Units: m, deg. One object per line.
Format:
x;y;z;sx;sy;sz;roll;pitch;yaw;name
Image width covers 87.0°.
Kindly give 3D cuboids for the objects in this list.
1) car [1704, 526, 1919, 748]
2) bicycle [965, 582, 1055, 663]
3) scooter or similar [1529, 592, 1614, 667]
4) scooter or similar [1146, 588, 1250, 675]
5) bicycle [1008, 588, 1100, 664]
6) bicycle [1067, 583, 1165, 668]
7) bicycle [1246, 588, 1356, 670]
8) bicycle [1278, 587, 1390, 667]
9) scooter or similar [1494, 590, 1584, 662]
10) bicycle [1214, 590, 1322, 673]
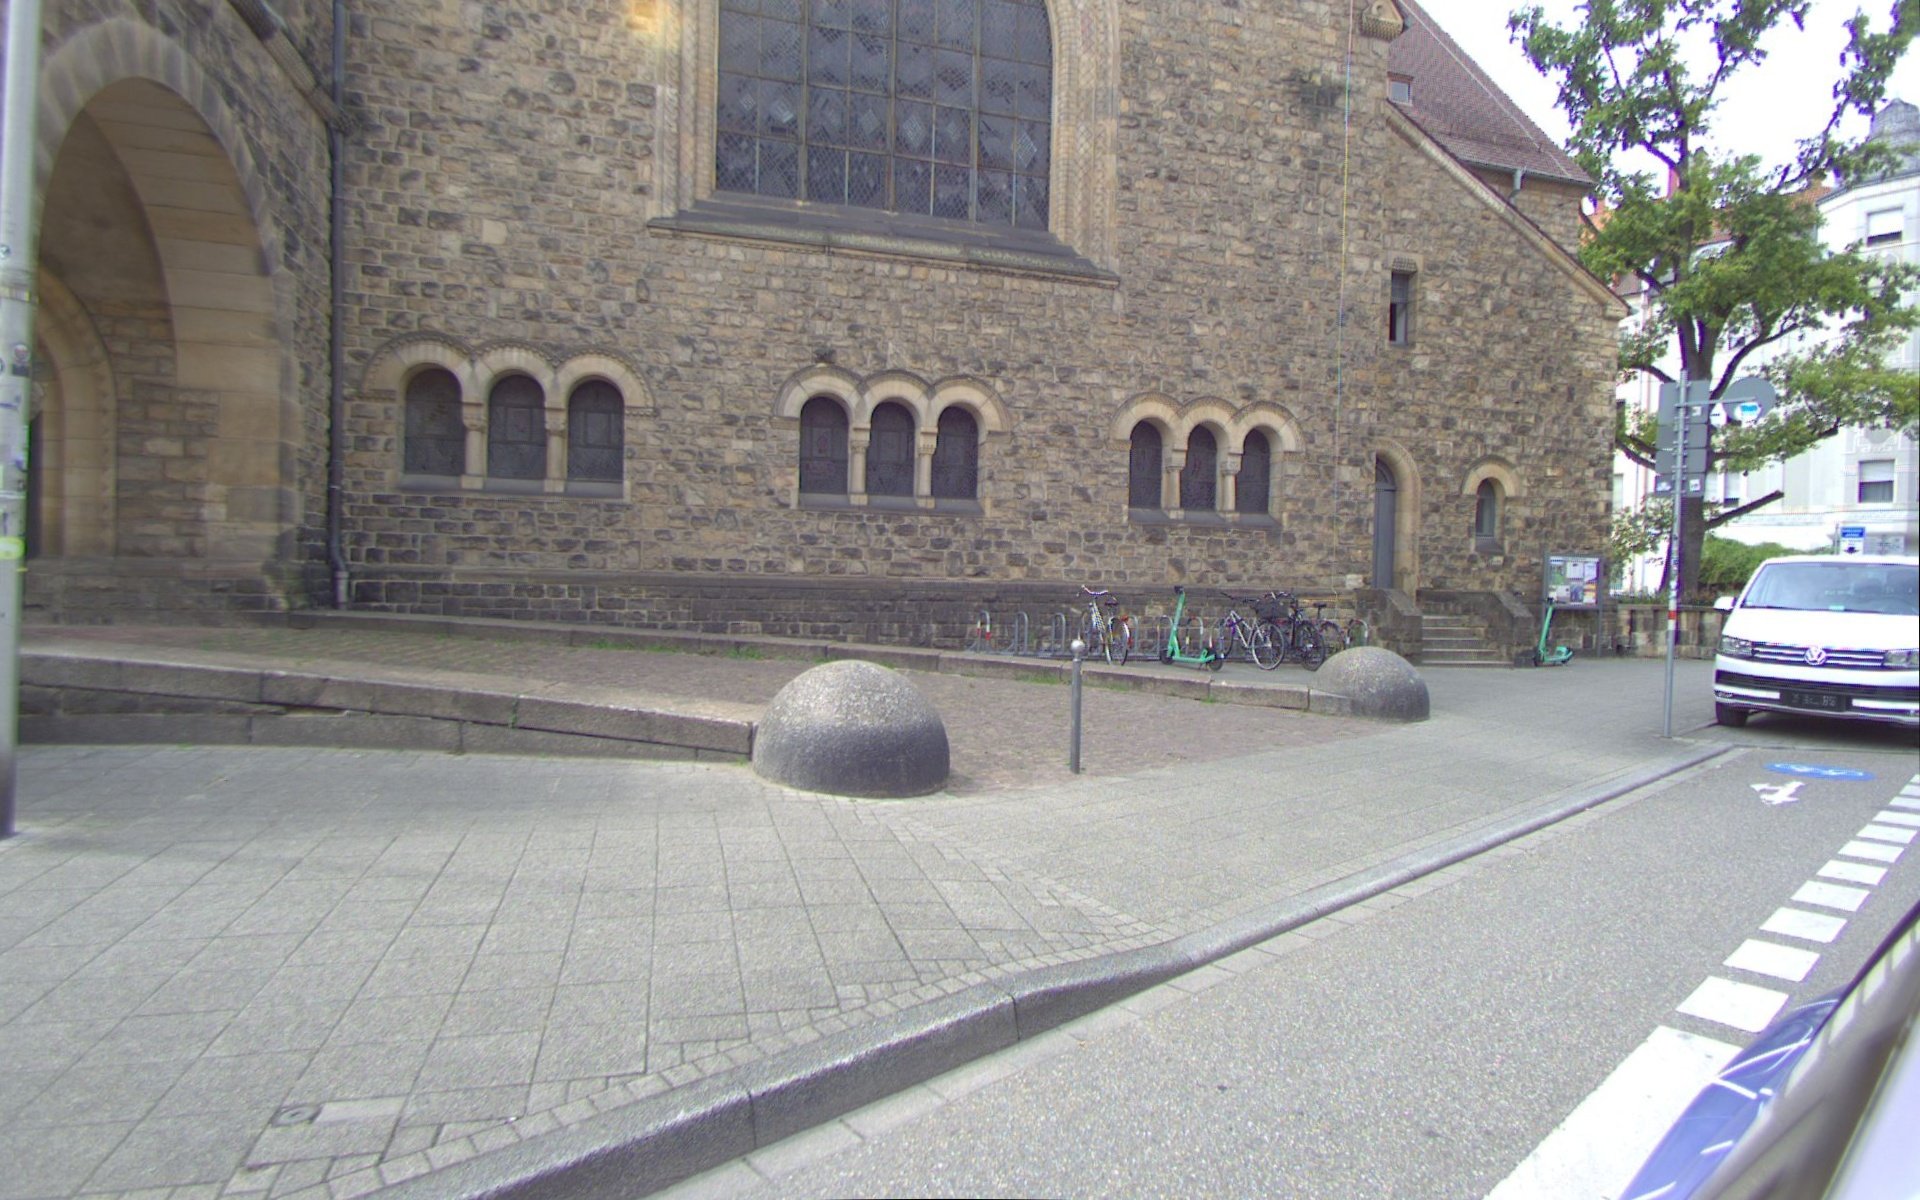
10.373;0.297;11.531;5.035;2.054;2.018;0;3;-42;car
0.670;0.289;14.211;0.534;0.969;1.787;1;3;-21;bicycle
10.435;0.495;17.275;1.413;1.222;0.547;1;1;-27;scooter or similar
3.461;0.426;14.854;0.534;1.154;1.786;1;1;-21;scooter or similar
1.304;0.338;14.400;0.534;0.969;1.786;1;1;-21;bicycle
2.217;0.335;14.613;0.534;1.125;1.786;1;1;-21;bicycle
5.155;0.411;15.401;0.534;1.125;1.779;1;1;-21;bicycle
5.743;0.392;15.646;0.534;1.125;1.786;1;1;-21;bicycle
10.263;0.454;17.937;1.450;1.222;0.547;1;1;-21;scooter or similar
4.583;0.444;15.202;0.534;1.125;1.786;1;1;-21;bicycle
